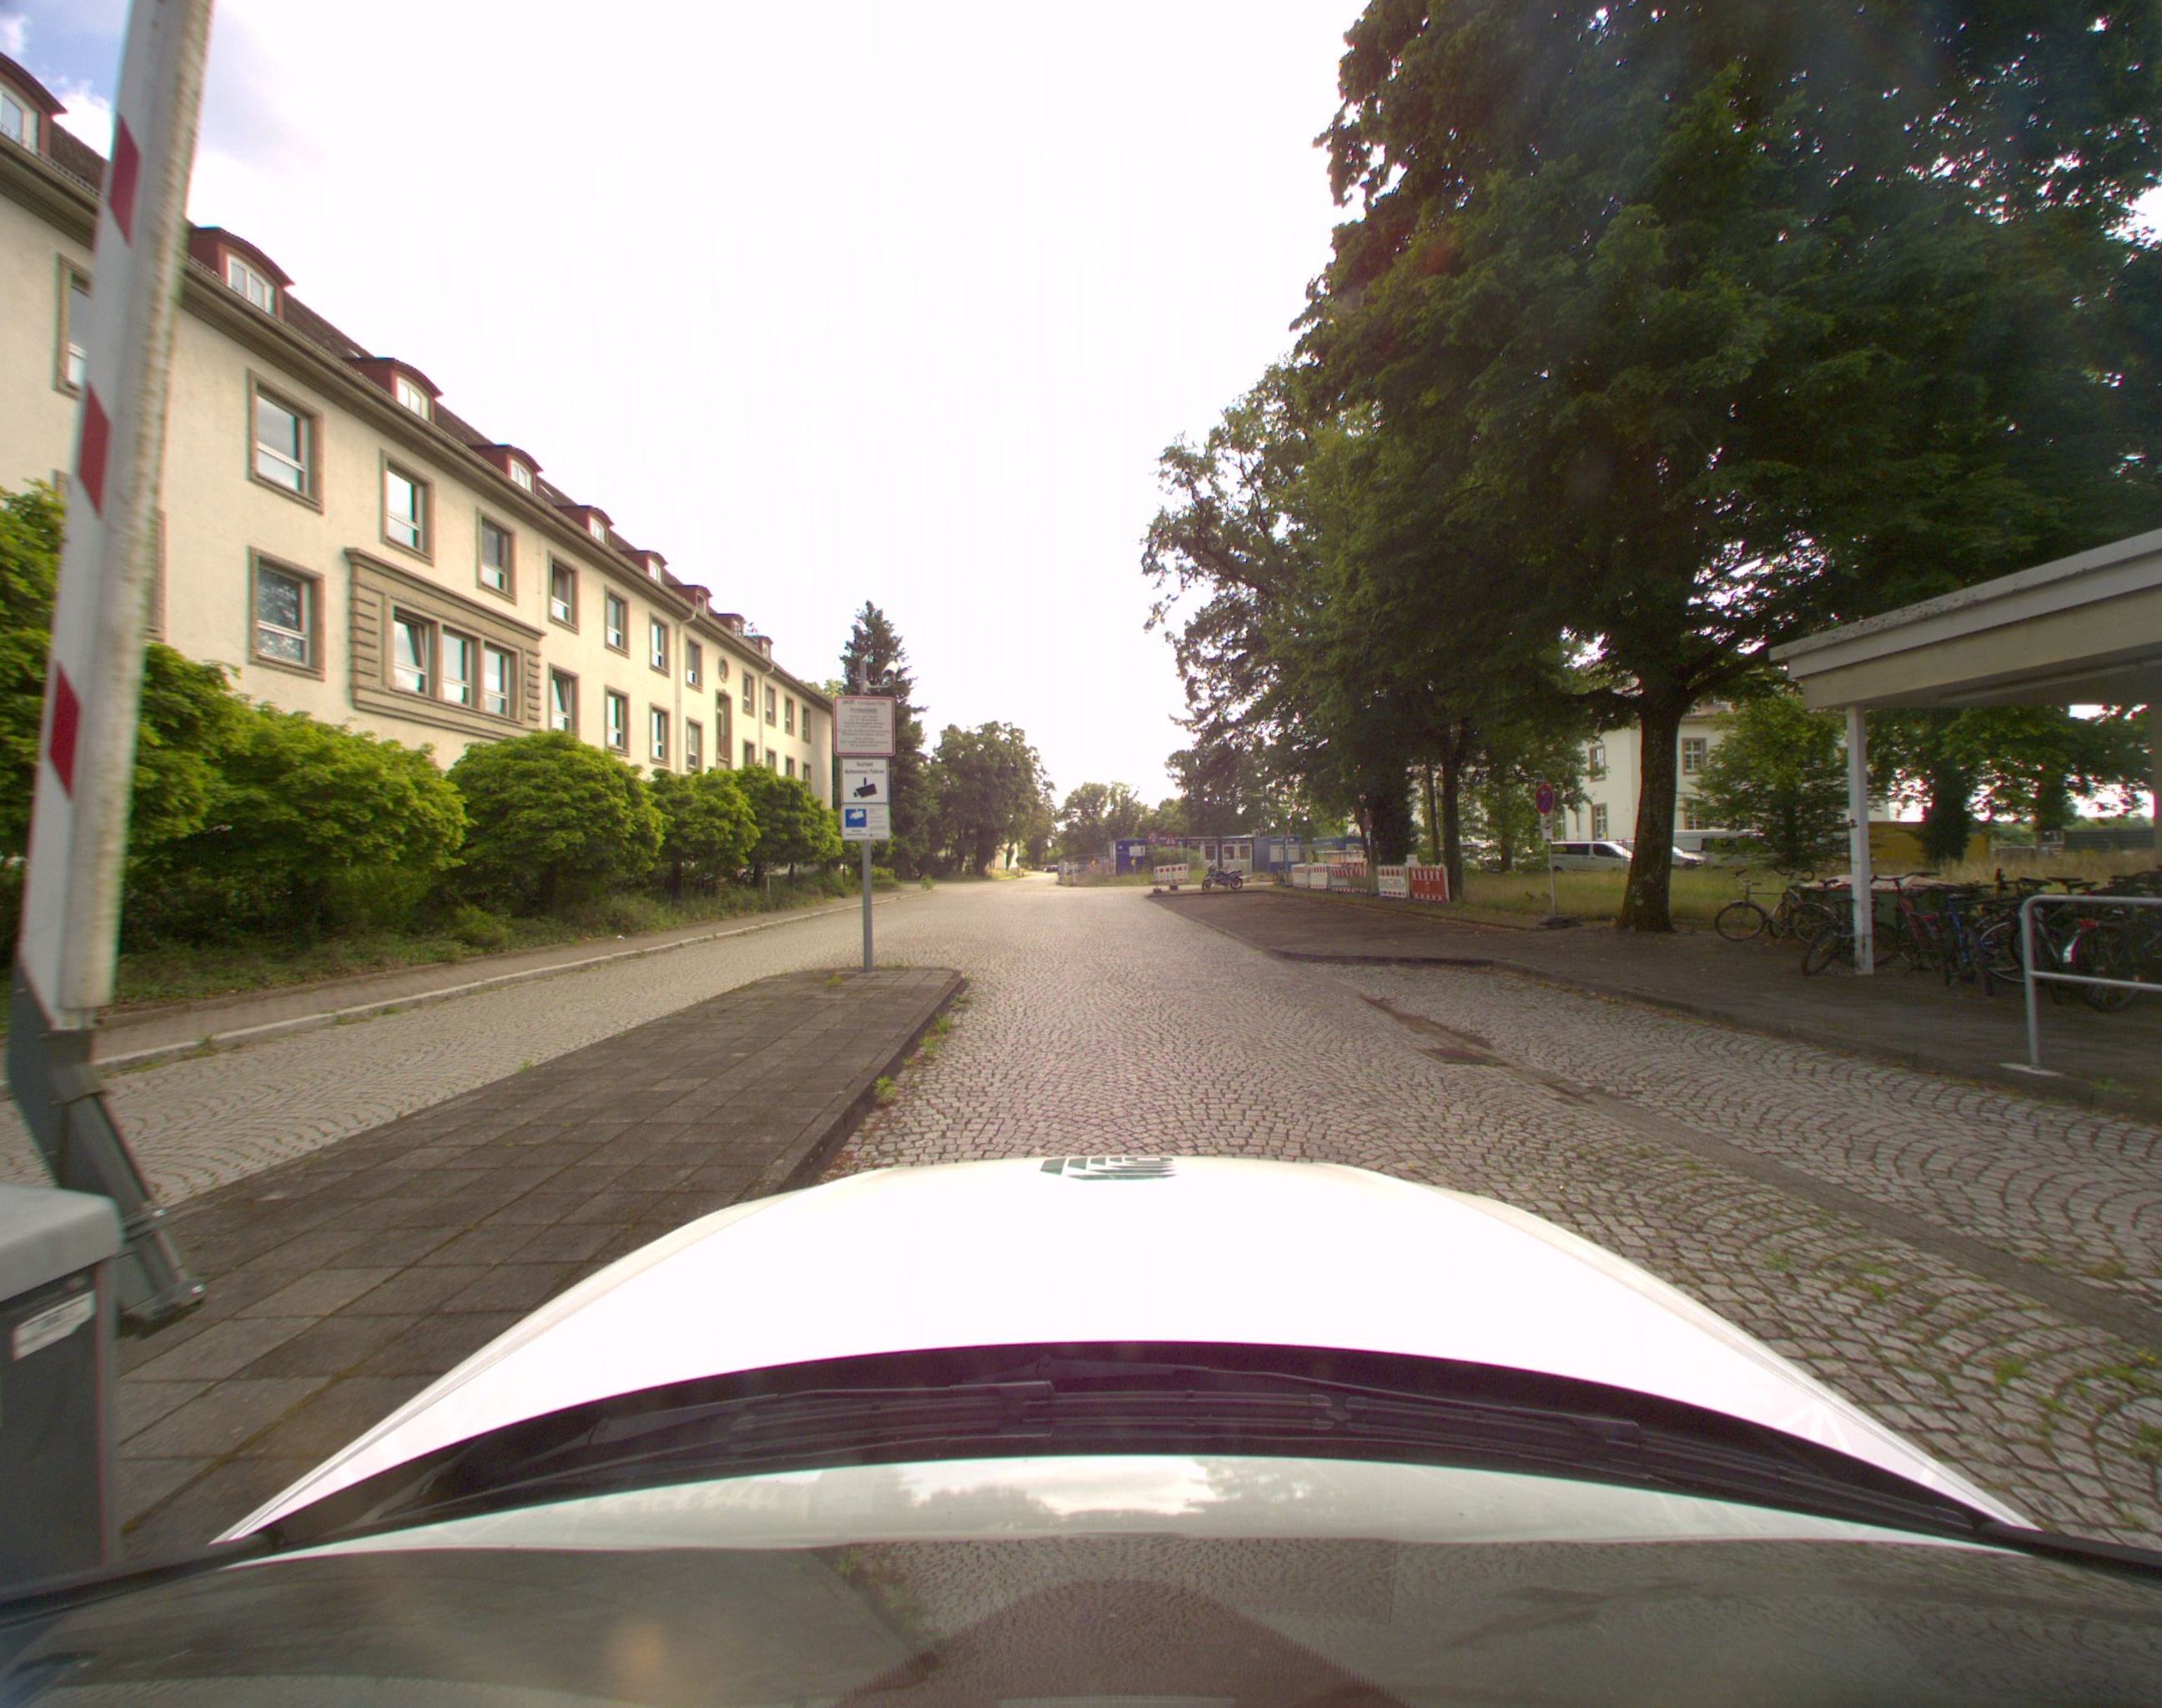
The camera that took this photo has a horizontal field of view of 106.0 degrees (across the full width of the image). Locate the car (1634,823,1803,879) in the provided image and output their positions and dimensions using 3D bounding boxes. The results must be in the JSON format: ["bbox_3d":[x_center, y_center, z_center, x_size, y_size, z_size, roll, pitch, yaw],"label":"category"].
[{"bbox_3d":[31.611,-0.099,40.701,2.006,2.578,6.359,1,-1,-31],"label":"car"}]

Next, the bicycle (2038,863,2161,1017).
[{"bbox_3d":[9.213,0.705,7.088,1.633,1.190,0.471,-2,-1,-16],"label":"bicycle"}]

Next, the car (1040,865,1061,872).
[{"bbox_3d":[-6.980,3.355,186.722,4.776,1.641,1.995,0,-1,-8],"label":"car"}]

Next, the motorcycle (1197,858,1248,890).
[{"bbox_3d":[6.805,0.955,39.143,2.274,1.485,0.755,-1,-1,-7],"label":"motorcycle"}]

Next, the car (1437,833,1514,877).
[{"bbox_3d":[24.129,0.102,50.102,1.987,2.556,5.909,0,-1,0],"label":"car"}]

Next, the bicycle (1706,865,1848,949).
[{"bbox_3d":[10.157,0.740,11.963,0.595,1.117,1.633,-3,0,-3],"label":"bicycle"}]

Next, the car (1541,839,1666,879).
[{"bbox_3d":[25.689,0.284,40.247,2.005,1.825,4.829,1,-1,-28],"label":"car"}]

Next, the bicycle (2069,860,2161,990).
[{"bbox_3d":[10.859,0.649,7.989,1.738,1.165,0.607,-3,-1,-6],"label":"bicycle"}]

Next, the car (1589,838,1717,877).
[{"bbox_3d":[28.378,0.190,40.603,2.005,1.825,4.829,1,-1,-28],"label":"car"}]

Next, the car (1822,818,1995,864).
[{"bbox_3d":[39.536,-0.573,39.017,6.123,2.096,2.211,0,-1,-1],"label":"car"}]

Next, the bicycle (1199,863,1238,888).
[{"bbox_3d":[7.019,1.111,41.624,1.883,1.197,0.659,-2,-1,17],"label":"bicycle"}]

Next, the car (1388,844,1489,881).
[{"bbox_3d":[20.014,0.473,45.740,4.844,1.921,1.906,-1,0,-1],"label":"car"}]

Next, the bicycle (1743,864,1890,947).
[{"bbox_3d":[10.782,0.718,12.019,0.595,1.117,1.633,-3,0,-3],"label":"bicycle"}]

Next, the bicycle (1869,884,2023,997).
[{"bbox_3d":[9.045,0.849,8.500,1.752,0.976,0.751,-2,-1,-32],"label":"bicycle"}]

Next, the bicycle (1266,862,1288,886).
[{"bbox_3d":[9.828,0.996,40.811,0.640,1.169,1.905,-2,-1,0],"label":"bicycle"}]

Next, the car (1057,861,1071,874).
[{"bbox_3d":[-2.717,2.191,129.896,1.989,2.014,4.086,-1,-1,-3],"label":"car"}]

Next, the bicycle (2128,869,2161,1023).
[{"bbox_3d":[9.274,0.695,6.537,1.632,1.190,0.418,-2,-1,-15],"label":"bicycle"}]

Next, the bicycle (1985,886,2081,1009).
[{"bbox_3d":[9.008,0.839,7.692,1.641,0.976,0.319,-2,-1,-32],"label":"bicycle"}]

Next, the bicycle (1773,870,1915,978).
[{"bbox_3d":[8.786,0.780,9.373,1.679,1.108,0.336,-2,-1,-16],"label":"bicycle"}]

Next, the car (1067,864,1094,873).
[{"bbox_3d":[-0.096,2.470,135.696,4.380,1.510,2.003,0,-1,6],"label":"car"}]

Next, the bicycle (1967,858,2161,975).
[{"bbox_3d":[10.965,0.667,9.021,1.738,1.165,0.607,-3,-1,-6],"label":"bicycle"}]

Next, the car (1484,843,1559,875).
[{"bbox_3d":[26.870,0.320,49.895,1.987,1.825,4.874,0,-1,0],"label":"car"}]
